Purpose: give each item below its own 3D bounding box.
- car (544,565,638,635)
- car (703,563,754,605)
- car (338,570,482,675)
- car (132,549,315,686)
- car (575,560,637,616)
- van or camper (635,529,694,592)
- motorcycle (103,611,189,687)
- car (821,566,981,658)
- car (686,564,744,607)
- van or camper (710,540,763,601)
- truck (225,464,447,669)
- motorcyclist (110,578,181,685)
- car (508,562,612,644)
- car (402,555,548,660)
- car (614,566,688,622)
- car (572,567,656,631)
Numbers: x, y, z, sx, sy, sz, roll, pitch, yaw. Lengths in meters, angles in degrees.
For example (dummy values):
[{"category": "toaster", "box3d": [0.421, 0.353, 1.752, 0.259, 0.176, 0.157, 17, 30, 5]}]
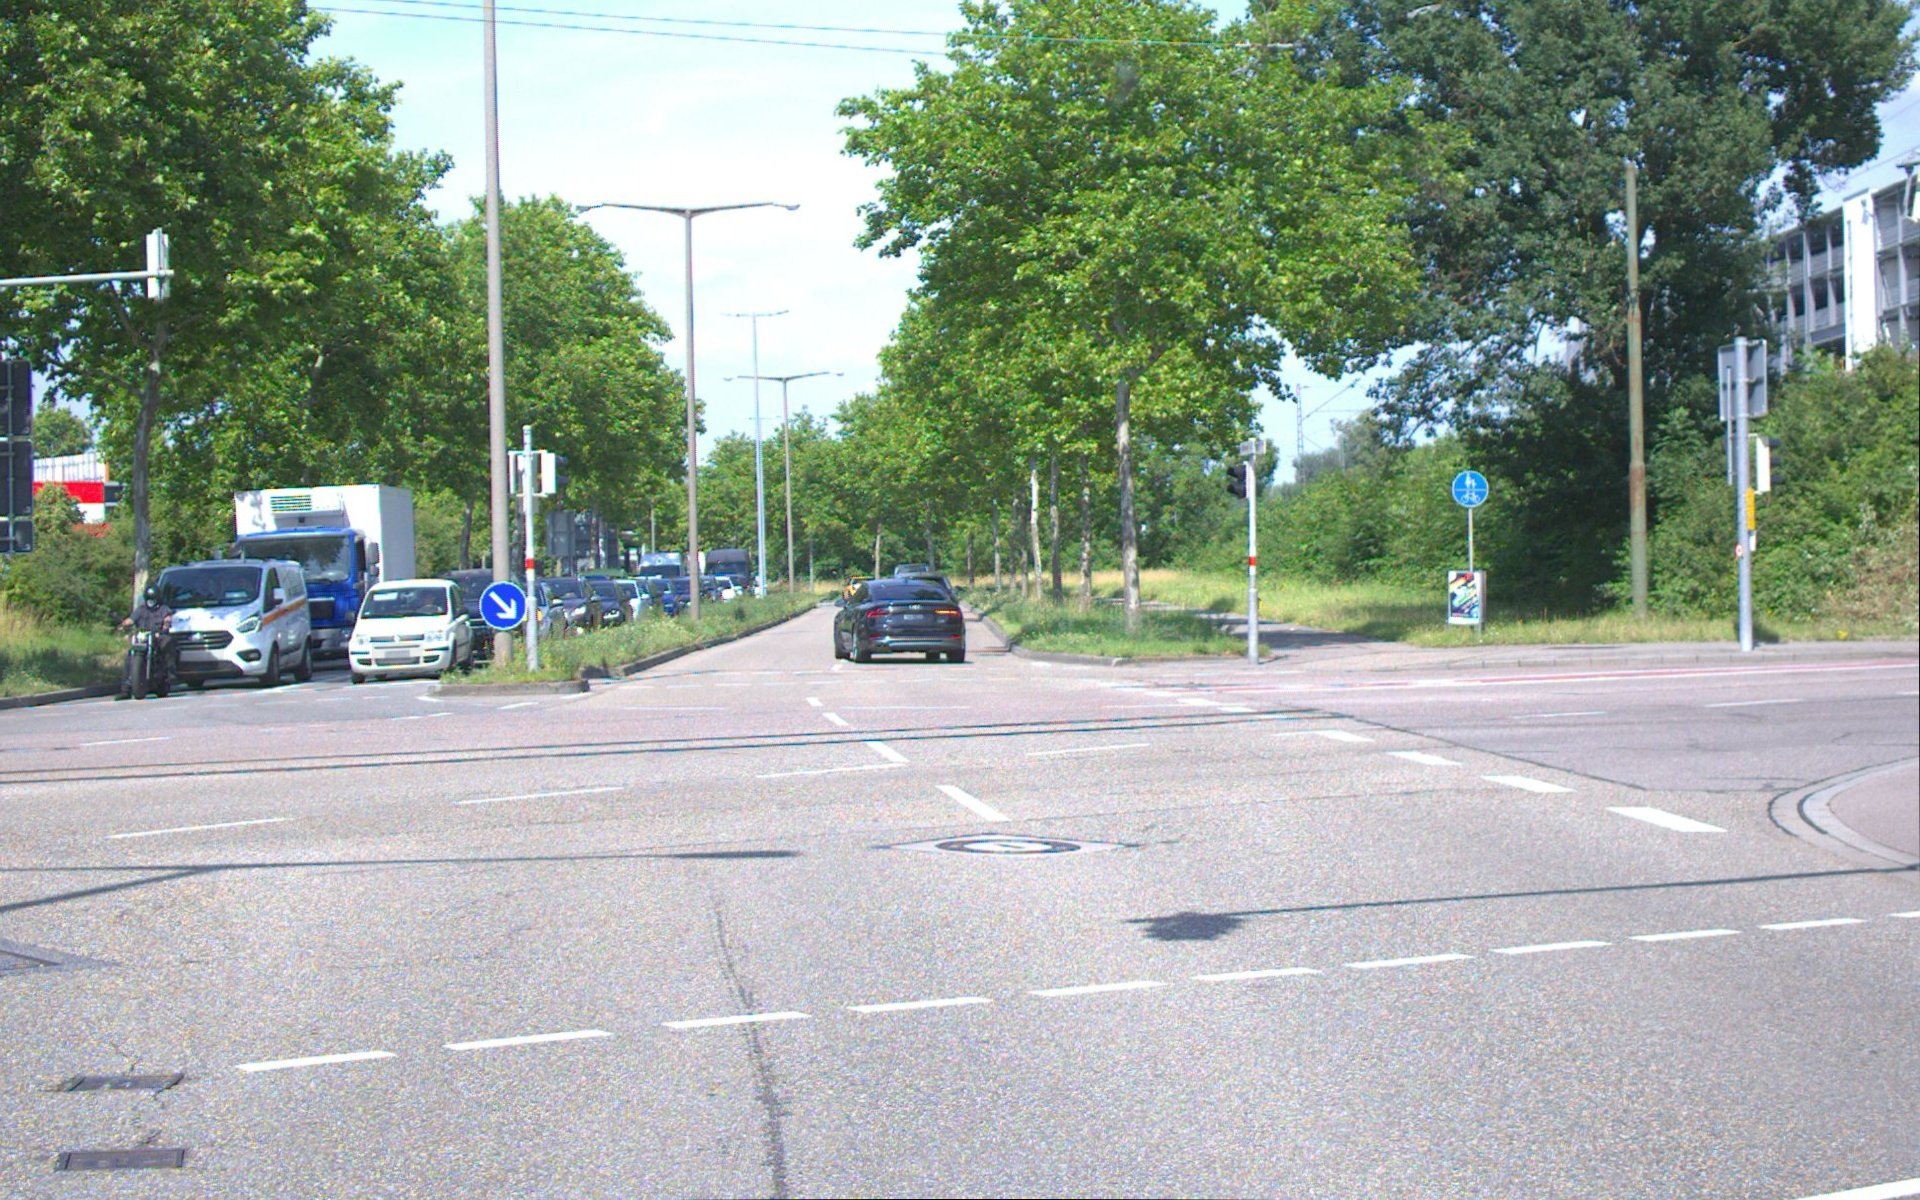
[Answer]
[{"category": "car", "box3d": [-8.472, -0.019, 79.202, 1.689, 1.468, 4.218, -3, 1, -1]}, {"category": "car", "box3d": [-8.858, -0.639, 131.740, 1.689, 1.505, 3.815, -2, 1, -1]}, {"category": "car", "box3d": [-8.375, 0.314, 52.566, 1.593, 1.472, 3.729, -2, 1, -1]}, {"category": "car", "box3d": [-11.339, 0.221, 53.255, 1.976, 1.992, 5.032, -1, 1, -3]}, {"category": "car", "box3d": [-12.217, -0.420, 118.877, 1.689, 1.852, 4.036, -2, 0, -1]}, {"category": "van or camper", "box3d": [-12.599, -1.680, 146.980, 2.015, 2.579, 5.517, -2, 1, -1]}, {"category": "motorcycle", "box3d": [-11.382, 0.676, 48.124, 0.688, 0.988, 2.217, -1, 1, -1]}, {"category": "car", "box3d": [-1.043, 0.167, 58.011, 1.907, 1.458, 4.623, -1, 1, -11]}, {"category": "car", "box3d": [-8.894, -0.536, 125.163, 1.783, 1.454, 4.472, -2, 1, -1]}, {"category": "van or camper", "box3d": [-9.123, -1.187, 140.677, 1.938, 2.360, 5.398, -2, 0, -2]}, {"category": "truck", "box3d": [-11.416, -0.653, 63.529, 2.804, 3.459, 6.692, -3, 1, -1]}, {"category": "motorcyclist", "box3d": [-11.418, 0.431, 48.215, 0.743, 1.465, 0.987, -1, 1, -1]}, {"category": "car", "box3d": [-8.334, 0.038, 71.928, 1.689, 1.581, 4.240, -2, 1, -1]}, {"category": "car", "box3d": [-8.192, 0.132, 58.399, 1.820, 1.641, 4.694, -2, 0, -1]}, {"category": "car", "box3d": [-8.745, -0.178, 97.535, 1.784, 1.484, 4.212, -2, 1, -2]}, {"category": "car", "box3d": [-8.518, -0.050, 84.839, 1.689, 1.467, 3.815, -2, 1, -1]}]
